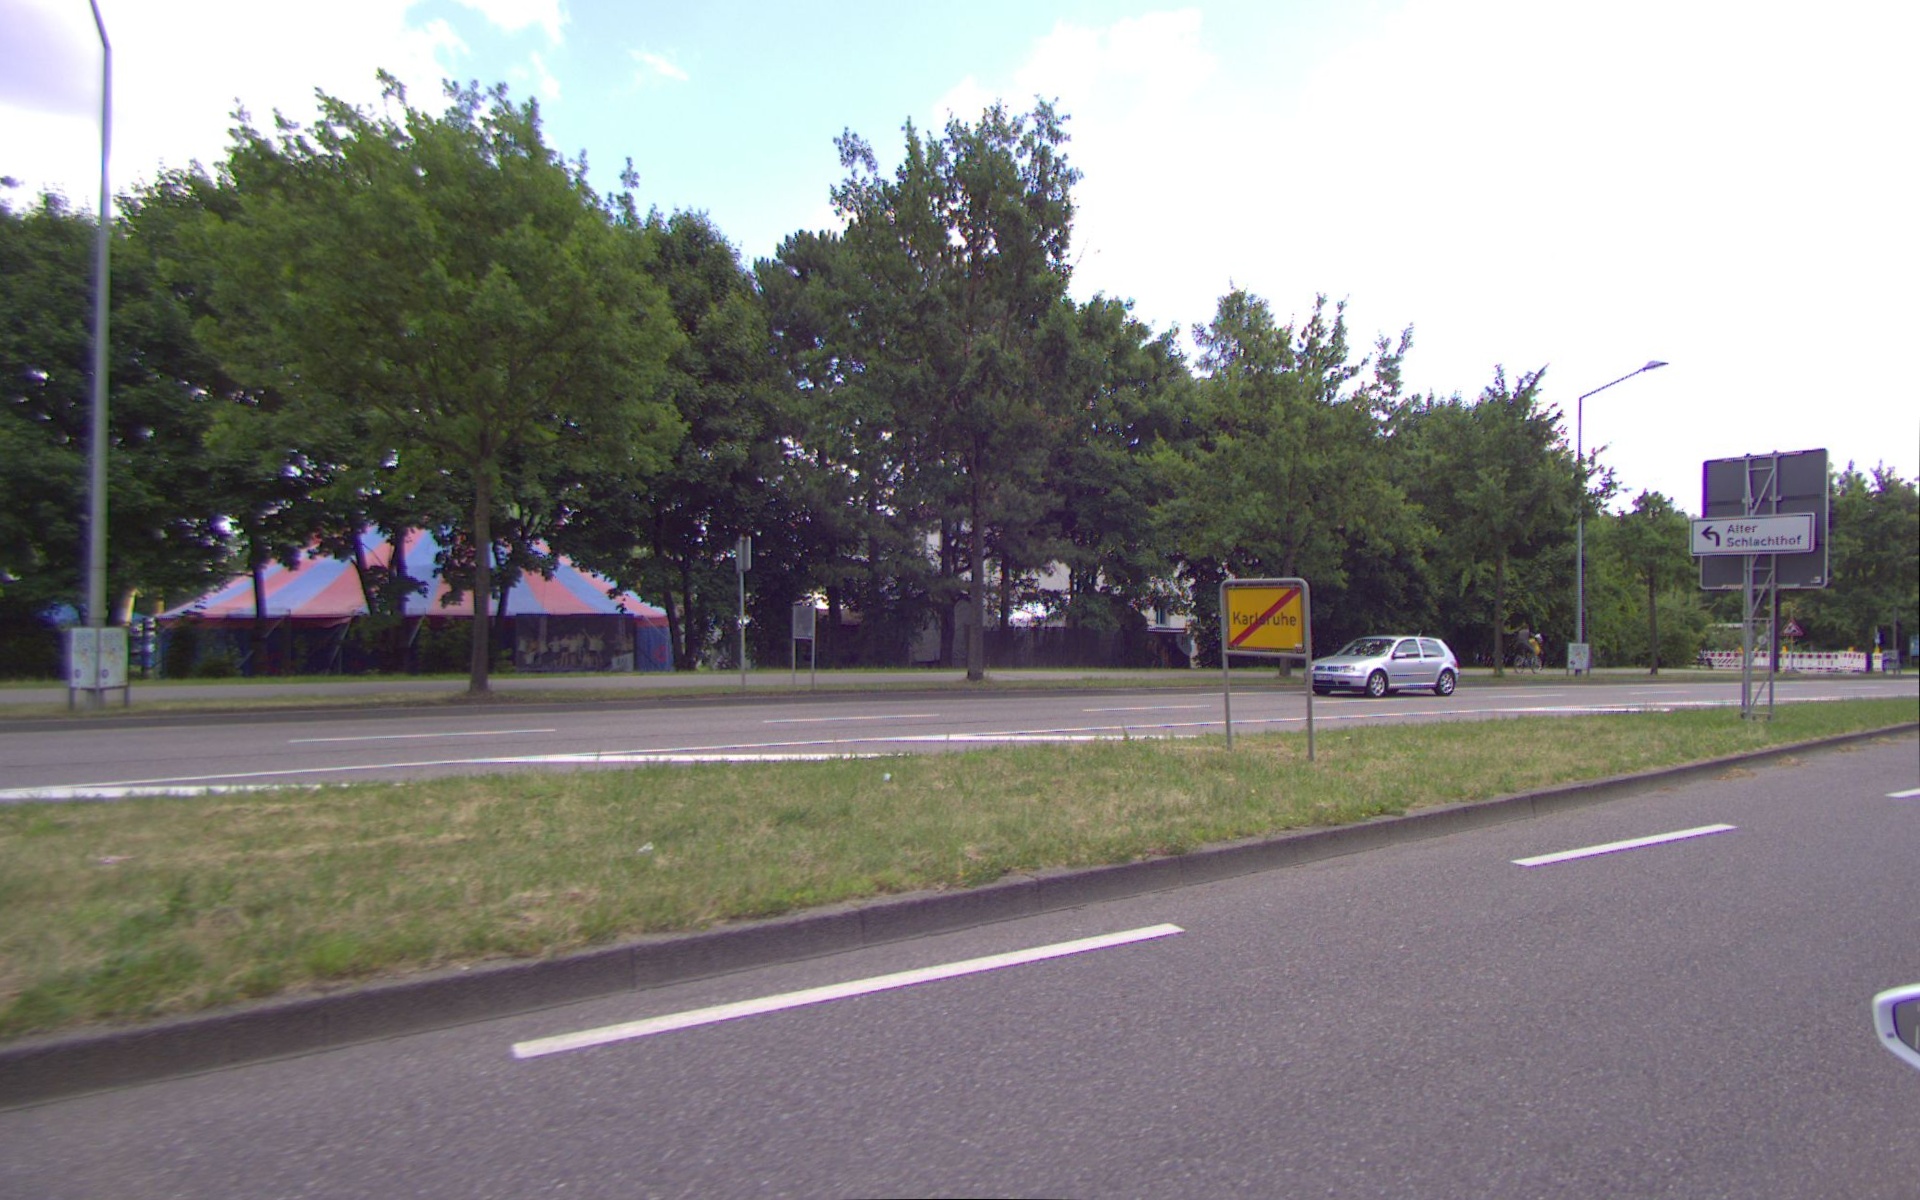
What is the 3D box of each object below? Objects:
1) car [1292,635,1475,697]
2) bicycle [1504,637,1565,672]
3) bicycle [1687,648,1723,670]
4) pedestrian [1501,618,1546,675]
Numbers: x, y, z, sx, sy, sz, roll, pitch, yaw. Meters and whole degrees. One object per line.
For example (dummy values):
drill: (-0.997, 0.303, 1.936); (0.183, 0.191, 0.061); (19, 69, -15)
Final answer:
car: (10.099, 1.528, 23.883); (4.325, 1.346, 1.634); (1, -1, -27)
bicycle: (21.144, 1.996, 36.964); (2.472, 1.243, 0.804); (1, -1, -30)
bicycle: (38.350, 3.032, 51.741); (0.866, 1.073, 2.364); (1, -2, 20)
pedestrian: (20.830, 1.701, 37.130); (1.234, 2.040, 0.966); (1, -1, -29)
